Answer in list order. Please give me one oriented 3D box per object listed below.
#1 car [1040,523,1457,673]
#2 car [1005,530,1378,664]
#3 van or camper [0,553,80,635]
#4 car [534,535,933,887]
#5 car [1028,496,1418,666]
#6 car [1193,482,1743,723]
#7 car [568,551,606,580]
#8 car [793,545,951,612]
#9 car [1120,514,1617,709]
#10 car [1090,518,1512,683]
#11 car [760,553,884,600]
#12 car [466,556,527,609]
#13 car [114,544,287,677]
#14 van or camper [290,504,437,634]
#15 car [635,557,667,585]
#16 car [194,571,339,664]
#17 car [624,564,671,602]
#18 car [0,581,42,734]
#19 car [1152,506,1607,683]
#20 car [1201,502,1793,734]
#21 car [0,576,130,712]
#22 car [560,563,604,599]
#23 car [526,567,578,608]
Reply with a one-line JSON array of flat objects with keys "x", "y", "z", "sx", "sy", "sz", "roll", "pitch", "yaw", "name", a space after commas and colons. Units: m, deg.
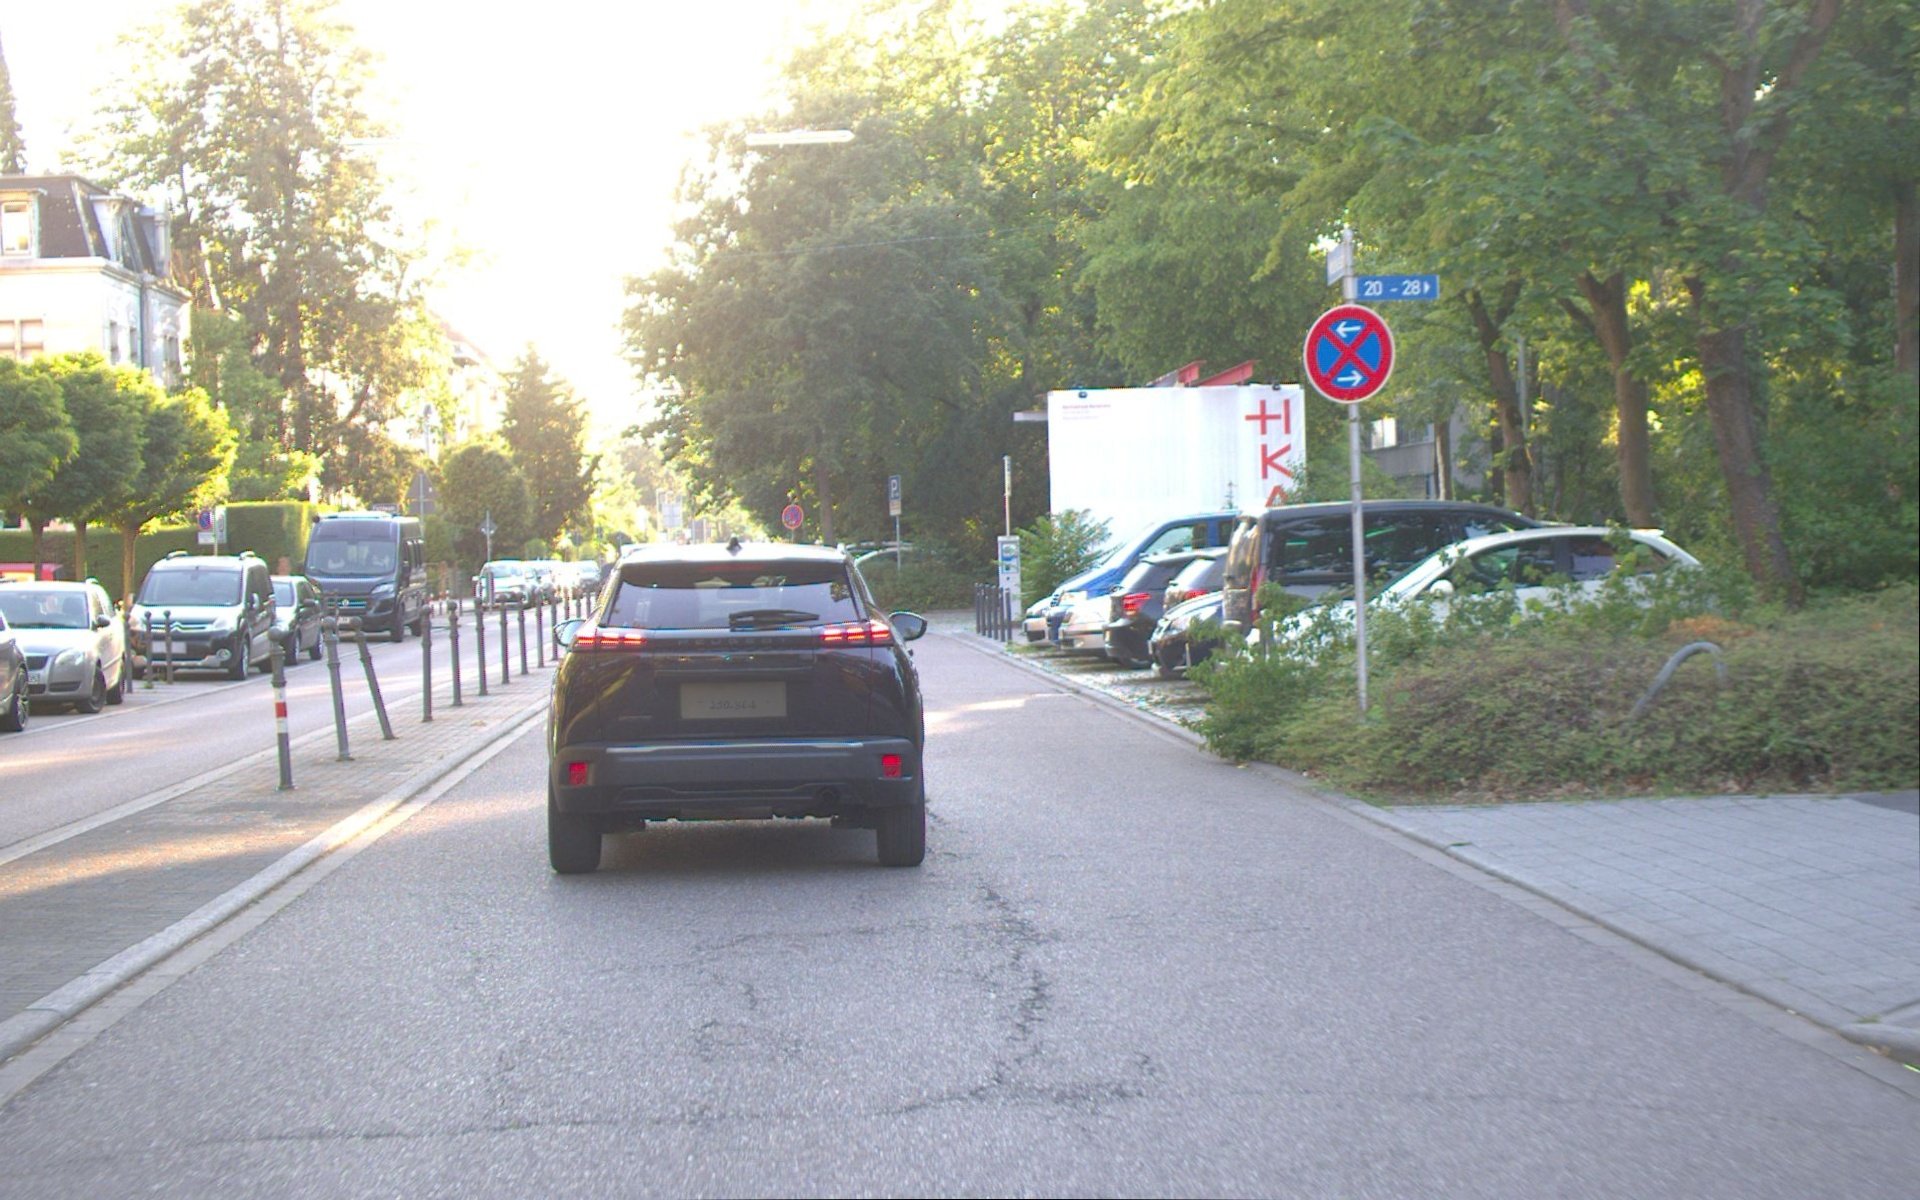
[{"x": 3.590, "y": -0.035, "z": 43.351, "sx": 4.926, "sy": 1.548, "sz": 1.916, "roll": -4, "pitch": 1, "yaw": -3, "name": "car"}, {"x": 3.203, "y": -0.053, "z": 48.205, "sx": 4.926, "sy": 1.548, "sz": 1.916, "roll": -4, "pitch": 1, "yaw": -3, "name": "car"}, {"x": -26.286, "y": -0.133, "z": 92.205, "sx": 4.768, "sy": 1.979, "sz": 2.001, "roll": -2, "pitch": 5, "yaw": -1, "name": "van or camper"}, {"x": -1.119, "y": 0.455, "z": 17.443, "sx": 1.771, "sy": 1.563, "sz": 4.109, "roll": 0, "pitch": 1, "yaw": -3, "name": "car"}, {"x": 3.447, "y": -0.259, "z": 45.664, "sx": 4.851, "sy": 1.909, "sz": 1.916, "roll": -4, "pitch": 1, "yaw": -3, "name": "car"}, {"x": 4.375, "y": 0.005, "z": 30.061, "sx": 4.362, "sy": 1.774, "sz": 1.921, "roll": -4, "pitch": 1, "yaw": -3, "name": "car"}, {"x": -20.971, "y": -1.919, "z": 193.262, "sx": 1.899, "sy": 1.568, "sz": 4.001, "roll": -1, "pitch": 1, "yaw": -4, "name": "car"}, {"x": -2.282, "y": -0.565, "z": 88.832, "sx": 3.986, "sy": 1.549, "sz": 1.726, "roll": -2, "pitch": 2, "yaw": -3, "name": "car"}, {"x": 3.841, "y": 0.093, "z": 32.830, "sx": 4.362, "sy": 1.548, "sz": 1.876, "roll": -4, "pitch": 1, "yaw": -3, "name": "car"}, {"x": 3.765, "y": -0.008, "z": 38.429, "sx": 4.362, "sy": 1.532, "sz": 1.921, "roll": -4, "pitch": 1, "yaw": -3, "name": "car"}, {"x": -4.912, "y": -0.822, "z": 121.887, "sx": 4.242, "sy": 1.444, "sz": 2.022, "roll": -3, "pitch": 1, "yaw": -5, "name": "car"}, {"x": -14.251, "y": -0.530, "z": 105.824, "sx": 1.613, "sy": 1.510, "sz": 3.712, "roll": -3, "pitch": 1, "yaw": -5, "name": "car"}, {"x": -11.236, "y": 0.116, "z": 51.095, "sx": 1.777, "sy": 1.859, "sz": 4.333, "roll": 1, "pitch": 1, "yaw": -3, "name": "car"}, {"x": -12.152, "y": -0.624, "z": 70.523, "sx": 2.229, "sy": 2.536, "sz": 7.081, "roll": 0, "pitch": 0, "yaw": -4, "name": "van or camper"}, {"x": -20.839, "y": -1.975, "z": 232.098, "sx": 1.993, "sy": 1.809, "sz": 4.001, "roll": -1, "pitch": 1, "yaw": -4, "name": "car"}, {"x": -11.482, "y": 0.266, "z": 57.121, "sx": 1.696, "sy": 1.465, "sz": 3.855, "roll": 1, "pitch": 0, "yaw": -1, "name": "car"}, {"x": -12.621, "y": -0.709, "z": 139.018, "sx": 1.740, "sy": 1.453, "sz": 4.624, "roll": -2, "pitch": 1, "yaw": -4, "name": "car"}, {"x": -10.196, "y": 0.584, "z": 33.370, "sx": 1.617, "sy": 1.491, "sz": 4.378, "roll": -1, "pitch": 1, "yaw": -3, "name": "car"}, {"x": 4.337, "y": -0.072, "z": 35.966, "sx": 4.362, "sy": 1.532, "sz": 1.921, "roll": -4, "pitch": 1, "yaw": -3, "name": "car"}, {"x": 4.269, "y": 0.127, "z": 27.730, "sx": 4.362, "sy": 1.548, "sz": 1.728, "roll": -4, "pitch": 1, "yaw": -3, "name": "car"}, {"x": -10.804, "y": 0.482, "z": 40.728, "sx": 1.718, "sy": 1.491, "sz": 4.378, "roll": -1, "pitch": 1, "yaw": -12, "name": "car"}, {"x": -16.316, "y": -0.829, "z": 148.511, "sx": 1.752, "sy": 1.409, "sz": 3.765, "roll": -3, "pitch": 1, "yaw": -5, "name": "car"}, {"x": -15.111, "y": -0.473, "z": 127.443, "sx": 1.613, "sy": 1.461, "sz": 4.036, "roll": -2, "pitch": 1, "yaw": -3, "name": "car"}]
